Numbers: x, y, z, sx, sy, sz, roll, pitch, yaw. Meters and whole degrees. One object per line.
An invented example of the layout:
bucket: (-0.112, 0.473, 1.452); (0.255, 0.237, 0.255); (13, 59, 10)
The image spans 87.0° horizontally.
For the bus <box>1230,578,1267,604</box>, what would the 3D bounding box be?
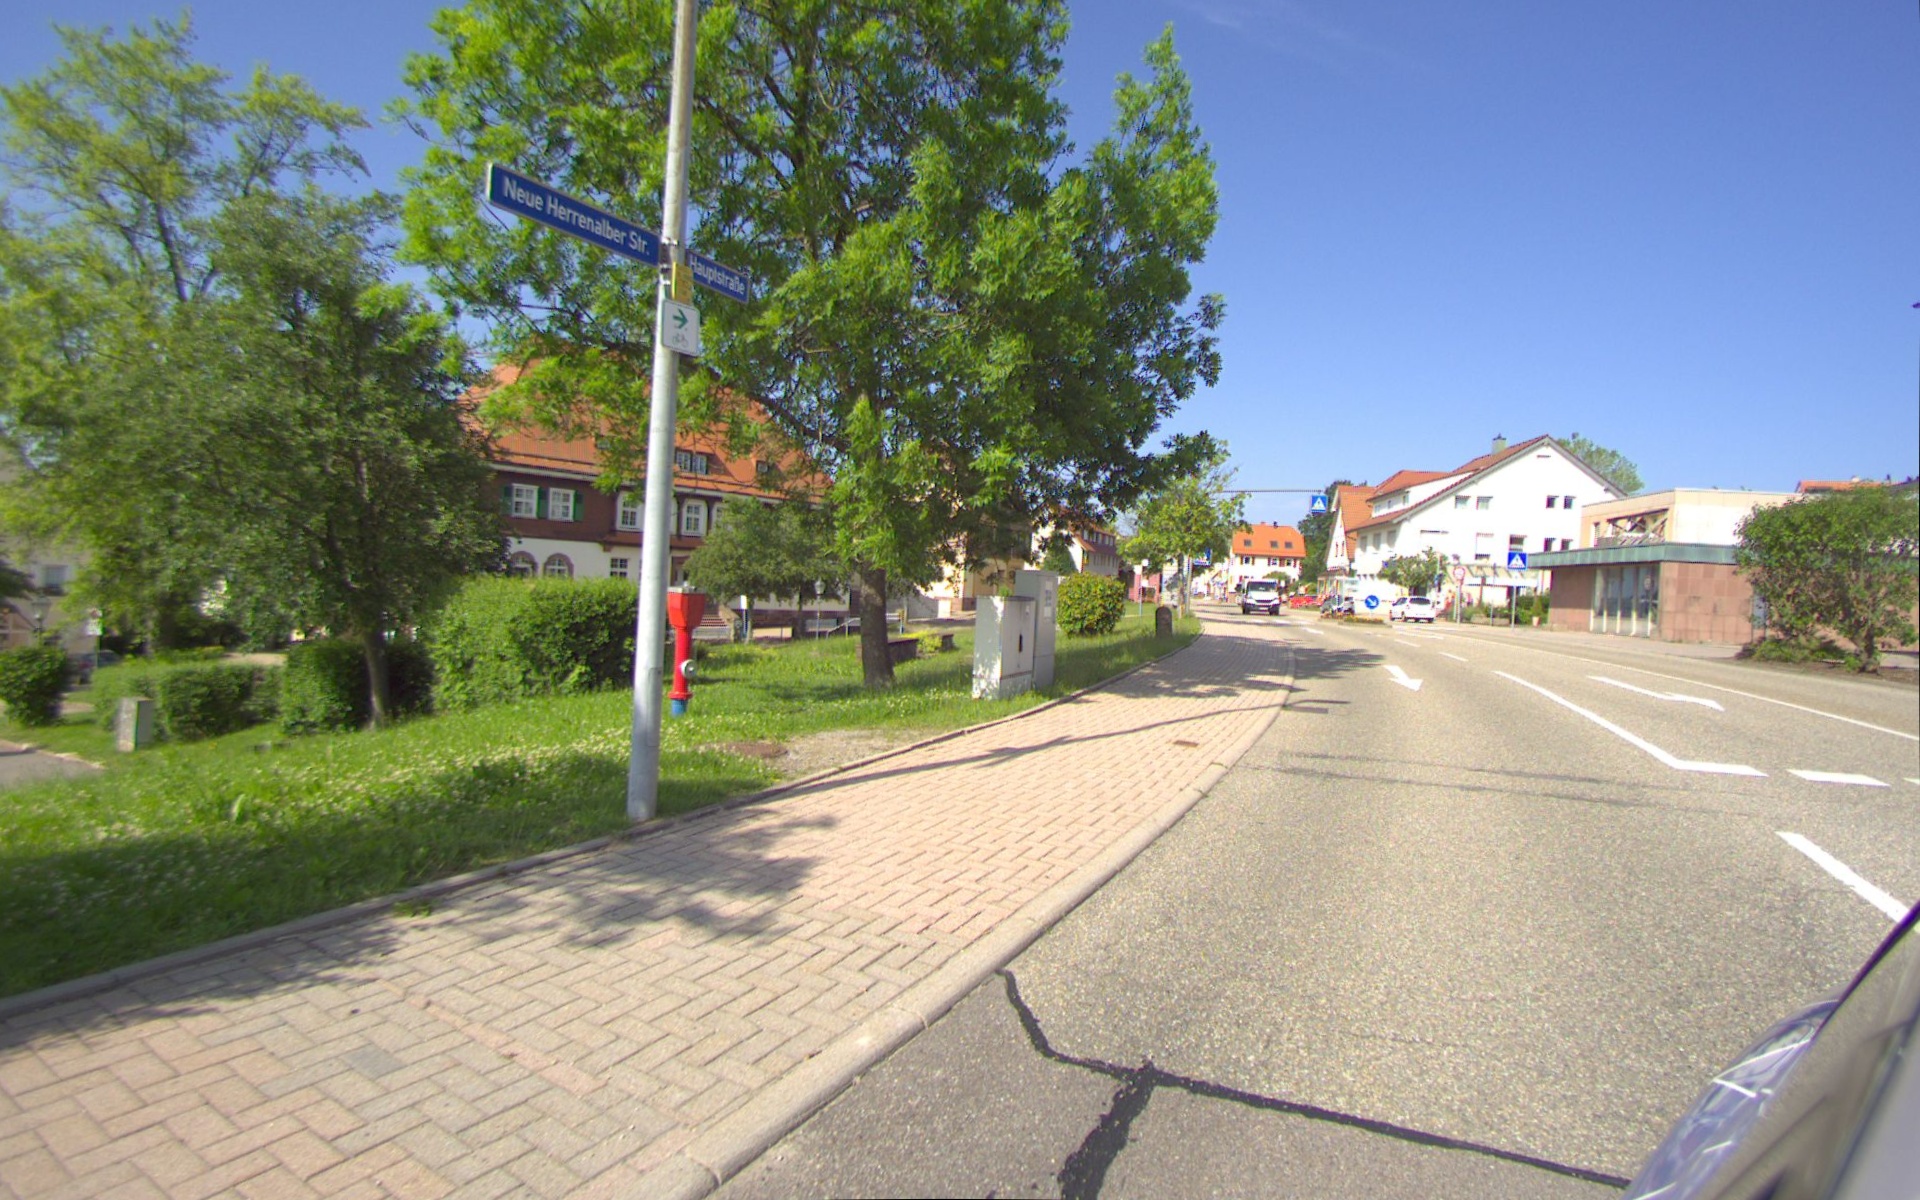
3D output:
bus: (36.486, -1.042, 128.430); (2.673, 3.052, 15.178); (1, 0, 9)

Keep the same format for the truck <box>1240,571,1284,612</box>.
truck: (18.901, -0.569, 63.530); (1.969, 2.370, 6.474); (2, 2, 11)

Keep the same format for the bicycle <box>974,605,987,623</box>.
bicycle: (1.432, 0.972, 70.501); (0.530, 1.205, 1.721); (0, 1, 14)

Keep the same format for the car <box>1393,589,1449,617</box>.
car: (26.042, 0.138, 57.321); (1.745, 1.486, 3.708); (-1, 0, 6)

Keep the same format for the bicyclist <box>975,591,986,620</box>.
bicyclist: (1.415, 0.389, 70.400); (0.573, 1.949, 0.993); (0, 0, 14)

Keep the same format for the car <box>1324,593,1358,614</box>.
car: (28.422, 0.230, 75.559); (1.748, 1.451, 3.701); (-1, 0, 11)

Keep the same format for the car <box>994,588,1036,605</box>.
car: (5.140, -0.320, 94.735); (3.658, 1.452, 1.769); (-1, 0, 14)
